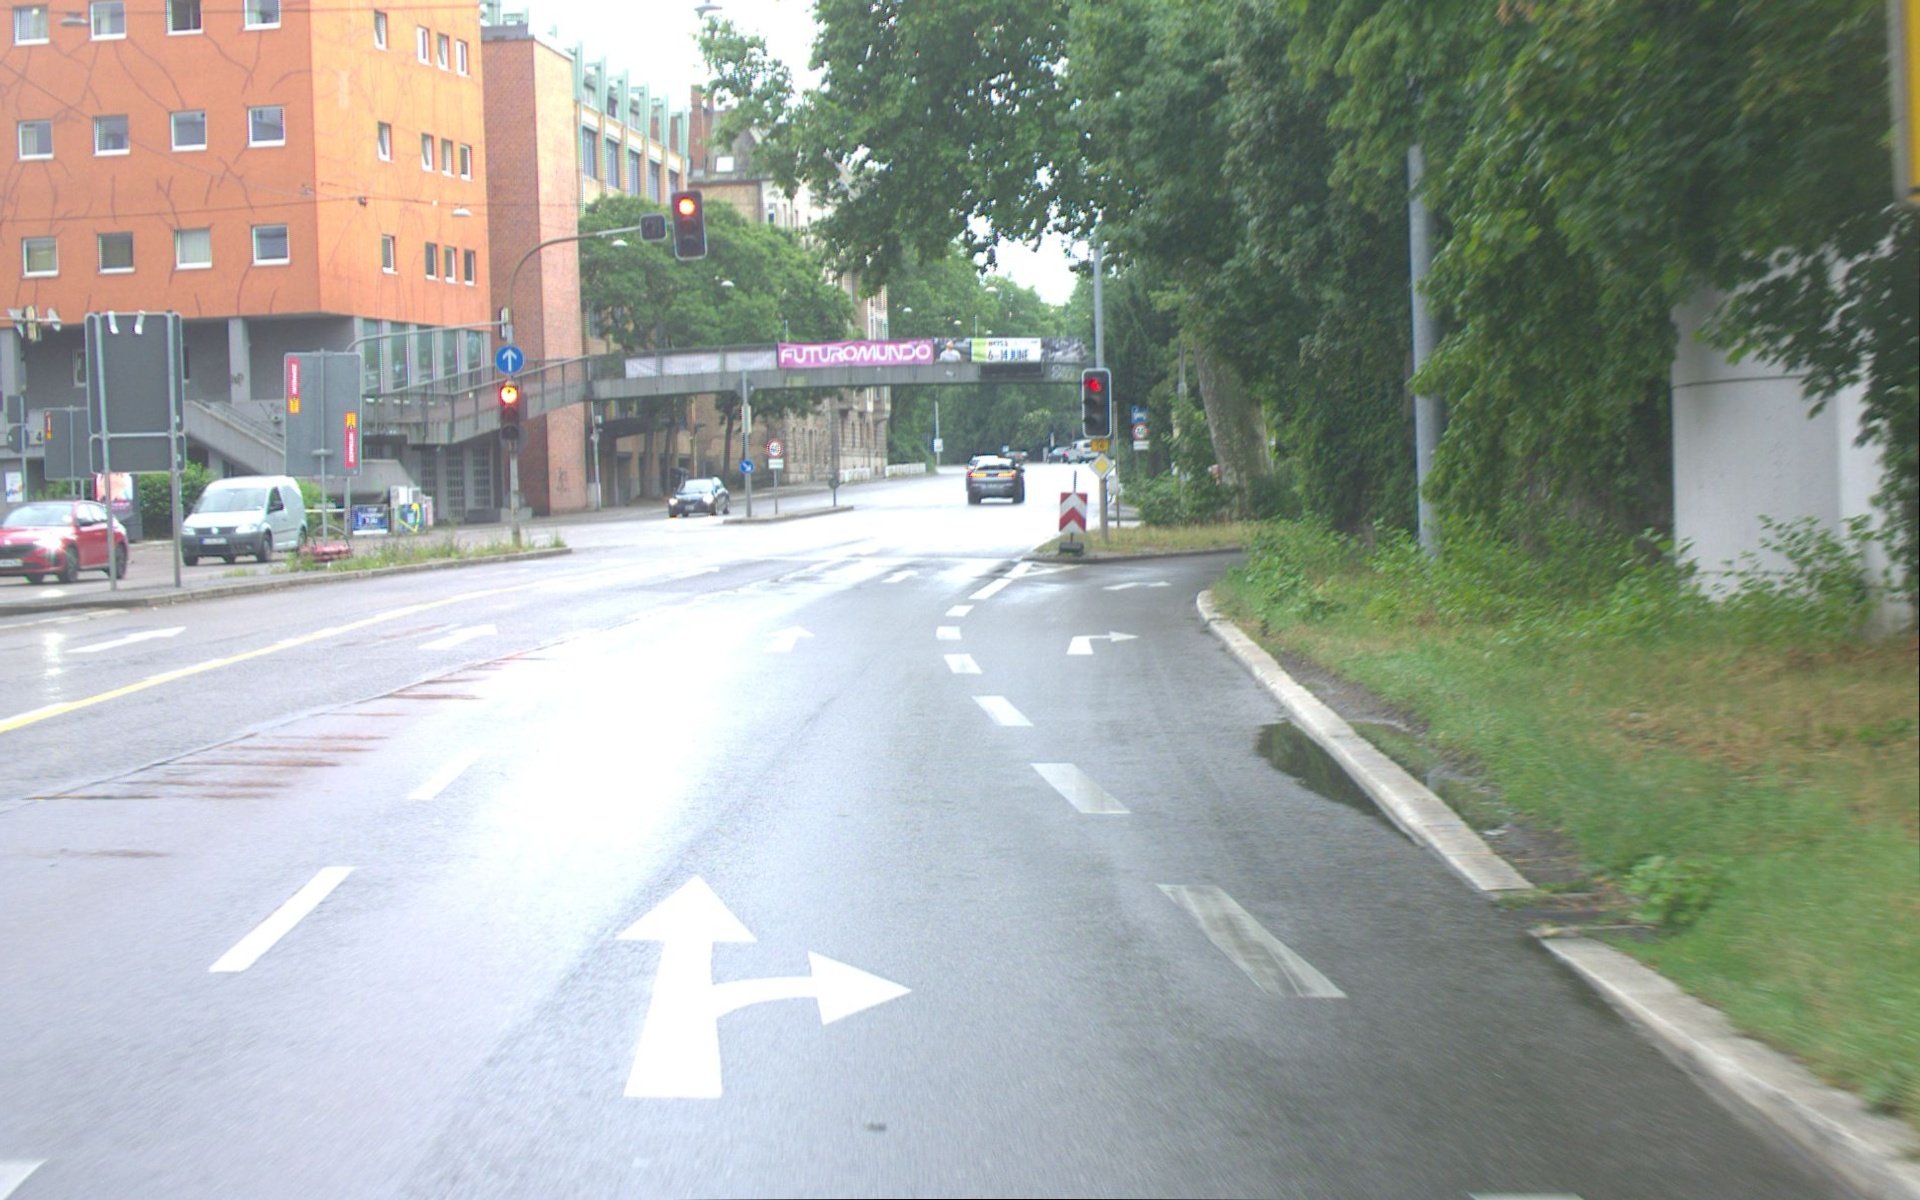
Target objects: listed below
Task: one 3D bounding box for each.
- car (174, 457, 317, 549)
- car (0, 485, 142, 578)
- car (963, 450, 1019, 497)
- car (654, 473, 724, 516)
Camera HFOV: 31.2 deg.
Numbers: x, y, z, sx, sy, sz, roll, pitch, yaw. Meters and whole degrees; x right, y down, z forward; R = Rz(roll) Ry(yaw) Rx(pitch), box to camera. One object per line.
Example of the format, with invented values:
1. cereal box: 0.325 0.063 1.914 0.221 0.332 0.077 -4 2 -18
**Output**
1. car: -14.900 -2.052 71.938 1.734 1.779 4.301 -3 2 4
2. car: -15.992 -1.207 60.348 1.830 1.497 4.373 -3 2 5
3. car: 1.184 -4.897 132.372 2.120 1.728 4.199 0 3 1
4. car: -9.958 -3.884 126.567 1.994 1.513 4.000 -1 2 3
